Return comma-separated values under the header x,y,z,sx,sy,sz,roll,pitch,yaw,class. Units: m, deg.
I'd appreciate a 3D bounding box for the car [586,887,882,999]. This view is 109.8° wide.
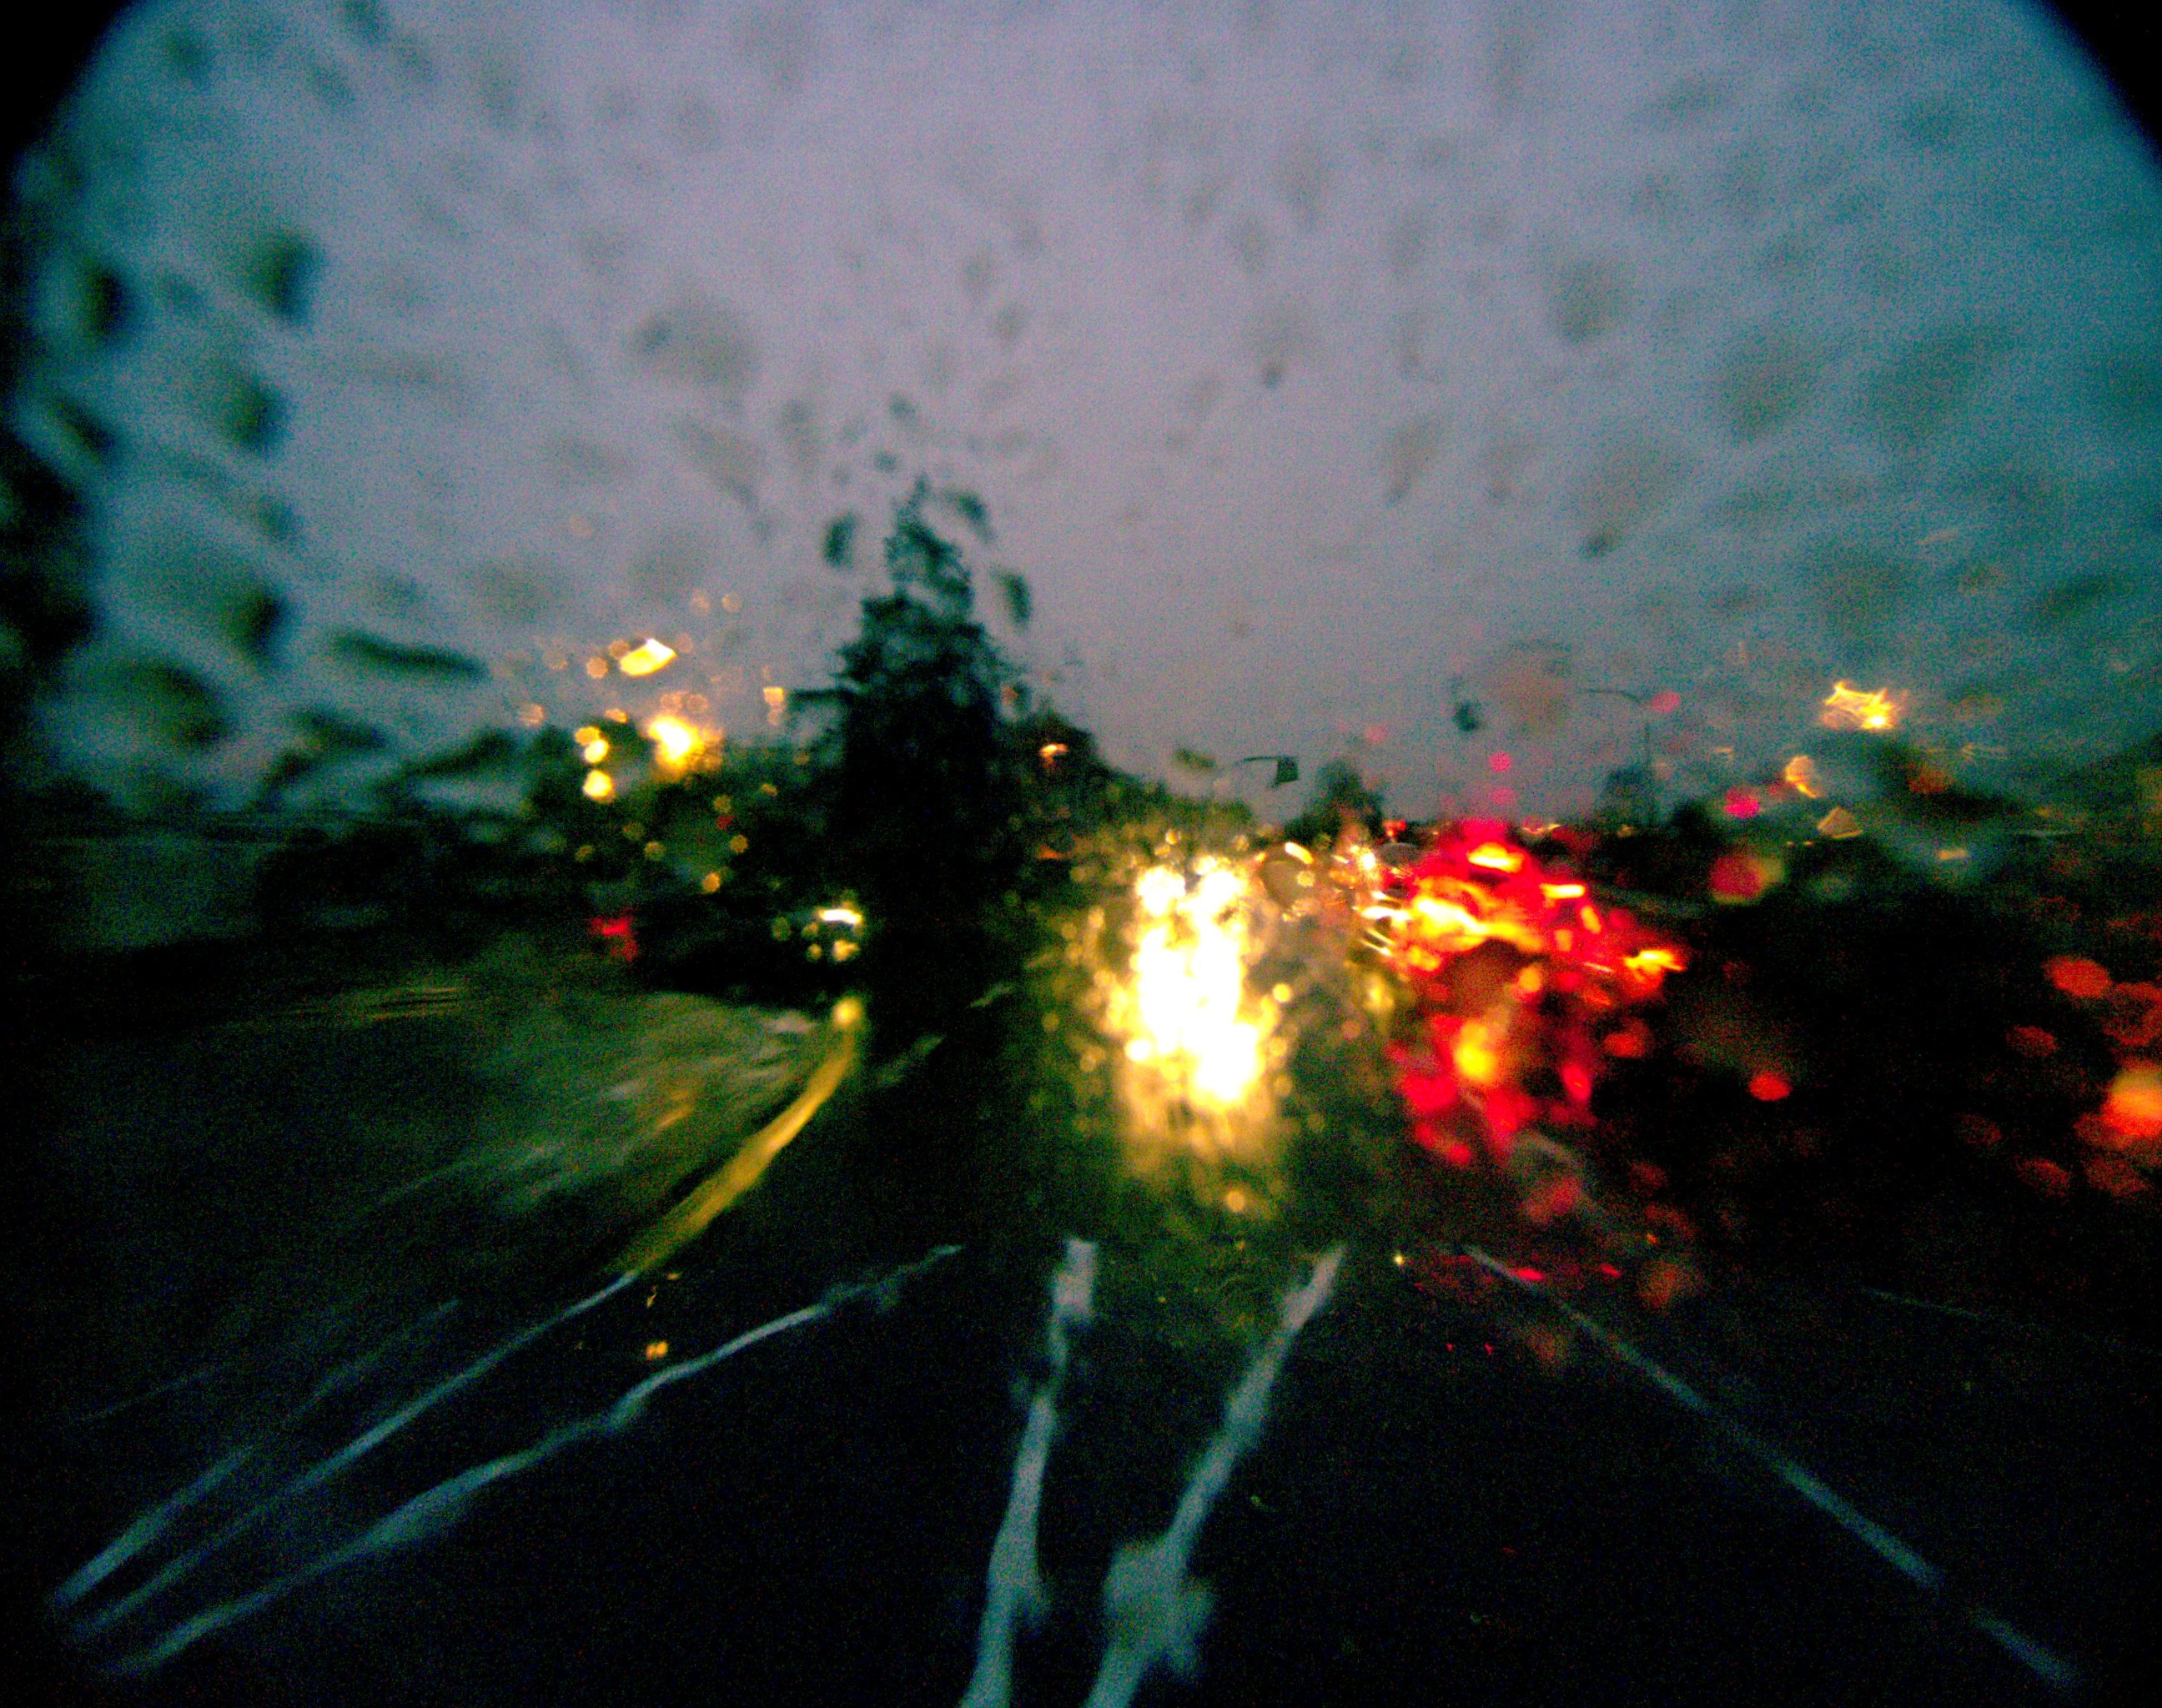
x,y,z,sx,sy,sz,roll,pitch,yaw,class
-5.773,1.454,13.095,4.182,1.432,1.797,-4,-1,-4,car

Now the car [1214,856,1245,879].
x,y,z,sx,sy,sz,roll,pitch,yaw,class
10.021,0.873,51.135,1.774,1.422,3.801,-3,-1,15,car

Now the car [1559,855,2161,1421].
x,y,z,sx,sy,sz,roll,pitch,yaw,class
3.974,0.785,3.157,1.775,1.486,4.044,-2,0,7,car

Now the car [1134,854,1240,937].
x,y,z,sx,sy,sz,roll,pitch,yaw,class
2.607,0.874,17.742,1.774,1.632,4.427,-2,0,16,car

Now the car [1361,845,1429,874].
x,y,z,sx,sy,sz,roll,pitch,yaw,class
17.668,0.312,42.692,4.008,1.464,1.995,-2,0,-42,car

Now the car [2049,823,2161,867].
x,y,z,sx,sy,sz,roll,pitch,yaw,class
39.501,-0.344,27.856,1.890,1.528,4.651,-2,1,-6,car

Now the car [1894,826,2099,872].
x,y,z,sx,sy,sz,roll,pitch,yaw,class
34.154,-0.191,28.591,1.688,1.528,4.782,-2,1,-6,car

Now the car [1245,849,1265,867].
x,y,z,sx,sy,sz,roll,pitch,yaw,class
19.007,0.413,82.911,1.945,1.795,4.177,-2,0,14,car

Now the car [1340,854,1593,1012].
x,y,z,sx,sy,sz,roll,pitch,yaw,class
4.428,0.786,9.411,1.666,1.477,4.003,-2,0,10,car
